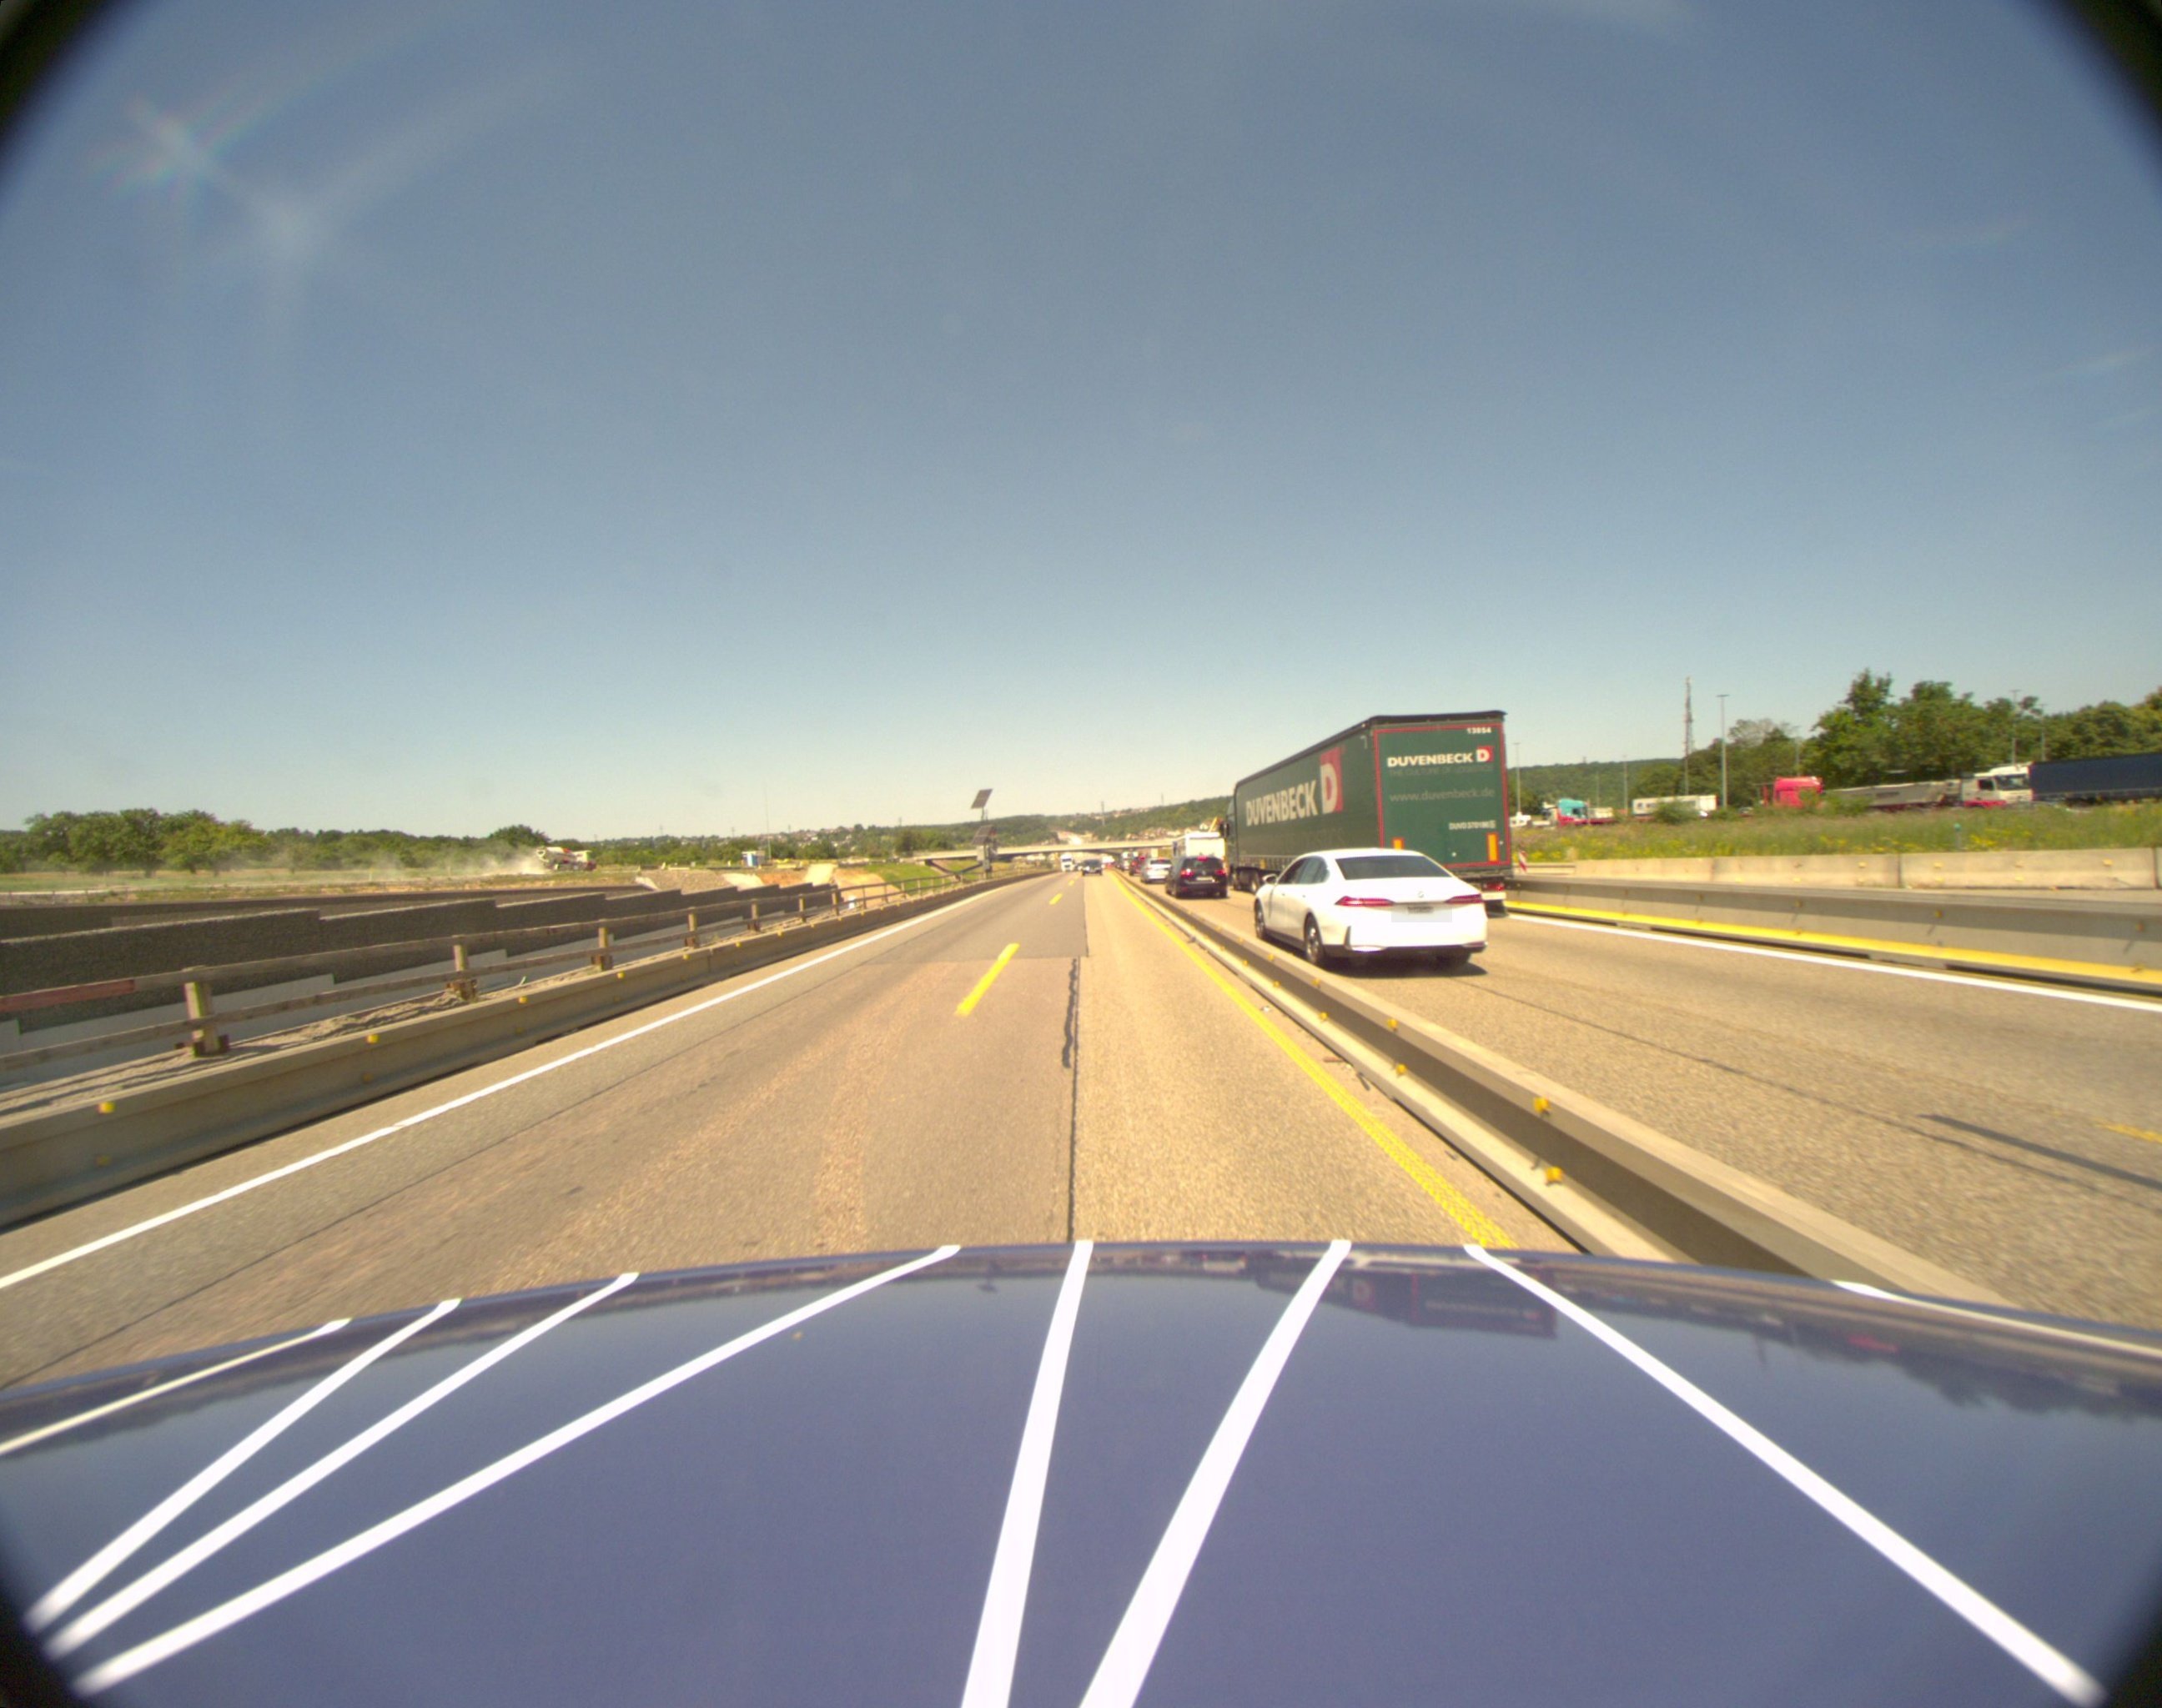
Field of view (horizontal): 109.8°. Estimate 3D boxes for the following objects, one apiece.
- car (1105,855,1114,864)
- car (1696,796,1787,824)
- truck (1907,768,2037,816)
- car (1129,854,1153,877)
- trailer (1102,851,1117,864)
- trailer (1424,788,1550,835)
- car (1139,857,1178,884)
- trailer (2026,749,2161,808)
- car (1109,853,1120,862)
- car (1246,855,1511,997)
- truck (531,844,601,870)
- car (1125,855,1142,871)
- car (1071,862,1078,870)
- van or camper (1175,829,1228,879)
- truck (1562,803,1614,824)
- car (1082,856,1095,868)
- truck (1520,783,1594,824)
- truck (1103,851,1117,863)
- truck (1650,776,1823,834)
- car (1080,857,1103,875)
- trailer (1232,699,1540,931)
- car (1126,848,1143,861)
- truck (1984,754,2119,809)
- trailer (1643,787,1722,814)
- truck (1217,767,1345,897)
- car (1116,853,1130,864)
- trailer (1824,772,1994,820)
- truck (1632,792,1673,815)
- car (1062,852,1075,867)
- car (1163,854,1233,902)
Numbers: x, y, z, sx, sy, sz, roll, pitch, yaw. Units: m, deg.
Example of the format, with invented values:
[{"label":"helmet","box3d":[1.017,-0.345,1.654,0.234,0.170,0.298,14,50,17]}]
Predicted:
[{"label":"car","box3d":[5.569,1.105,149.005,1.723,1.582,3.797,-4,0,1]},{"label":"car","box3d":[42.567,-2.802,49.053,2.003,1.499,3.991,-3,0,-31]},{"label":"truck","box3d":[62.233,-4.242,53.276,2.275,2.752,5.630,-4,0,-2]},{"label":"car","box3d":[4.588,0.867,58.495,1.651,1.592,4.490,-2,0,2]},{"label":"trailer","box3d":[7.294,0.843,193.210,3.397,2.939,9.784,-4,0,2]},{"label":"trailer","box3d":[46.824,-4.825,88.159,12.348,4.142,2.865,-5,1,45]},{"label":"car","box3d":[4.137,0.846,41.103,1.714,1.344,3.890,-1,0,0]},{"label":"trailer","box3d":[76.002,-5.508,53.112,3.030,3.601,13.432,-4,0,0]},{"label":"car","box3d":[5.682,0.604,129.498,1.651,1.359,3.945,-1,0,0]},{"label":"car","box3d":[3.773,0.796,10.695,1.901,1.484,4.760,-2,0,1]},{"label":"truck","box3d":[-72.946,0.353,107.866,3.154,3.445,8.758,-4,0,5]},{"label":"car","box3d":[5.460,0.905,79.886,1.651,1.563,3.945,-1,0,2]},{"label":"car","box3d":[-1.745,3.150,205.770,1.739,2.002,3.876,-3,0,1]},{"label":"van or camper","box3d":[7.673,-0.042,49.256,2.442,2.900,7.824,-2,0,3]},{"label":"truck","box3d":[75.533,-5.934,113.456,2.548,2.589,7.778,-4,0,1]},{"label":"car","box3d":[1.092,1.172,110.135,1.847,1.572,4.000,-2,0,1]},{"label":"truck","box3d":[51.941,-5.474,83.007,6.131,3.728,2.838,-5,1,45]},{"label":"truck","box3d":[7.625,0.790,201.148,3.397,2.939,6.085,-4,0,2]},{"label":"truck","box3d":[51.193,-3.726,59.714,2.004,3.755,10.066,-3,1,-45]},{"label":"car","box3d":[0.851,0.965,63.044,1.810,1.299,4.000,-2,0,1]},{"label":"trailer","box3d":[7.042,-0.749,21.019,3.014,4.174,13.850,-2,0,1]},{"label":"car","box3d":[9.244,0.042,131.355,2.416,2.106,5.315,-4,0,0]},{"label":"truck","box3d":[75.960,-5.617,59.689,2.872,3.601,5.960,-4,0,0]},{"label":"trailer","box3d":[96.059,-8.471,121.689,2.952,3.360,11.703,-3,0,-2]},{"label":"truck","box3d":[7.152,-0.731,28.157,3.014,4.179,6.283,-2,0,1]},{"label":"car","box3d":[5.703,0.604,102.817,1.651,1.359,3.945,-1,0,0]},{"label":"trailer","box3d":[62.031,-4.255,57.419,2.260,2.752,9.394,-4,0,-2]},{"label":"truck","box3d":[95.891,-8.493,127.607,2.901,3.338,4.906,-4,0,-2]},{"label":"car","box3d":[-2.702,1.158,167.419,2.544,3.127,7.547,-4,0,1]},{"label":"car","box3d":[3.950,0.760,26.294,1.771,1.465,4.227,-2,0,0]}]
